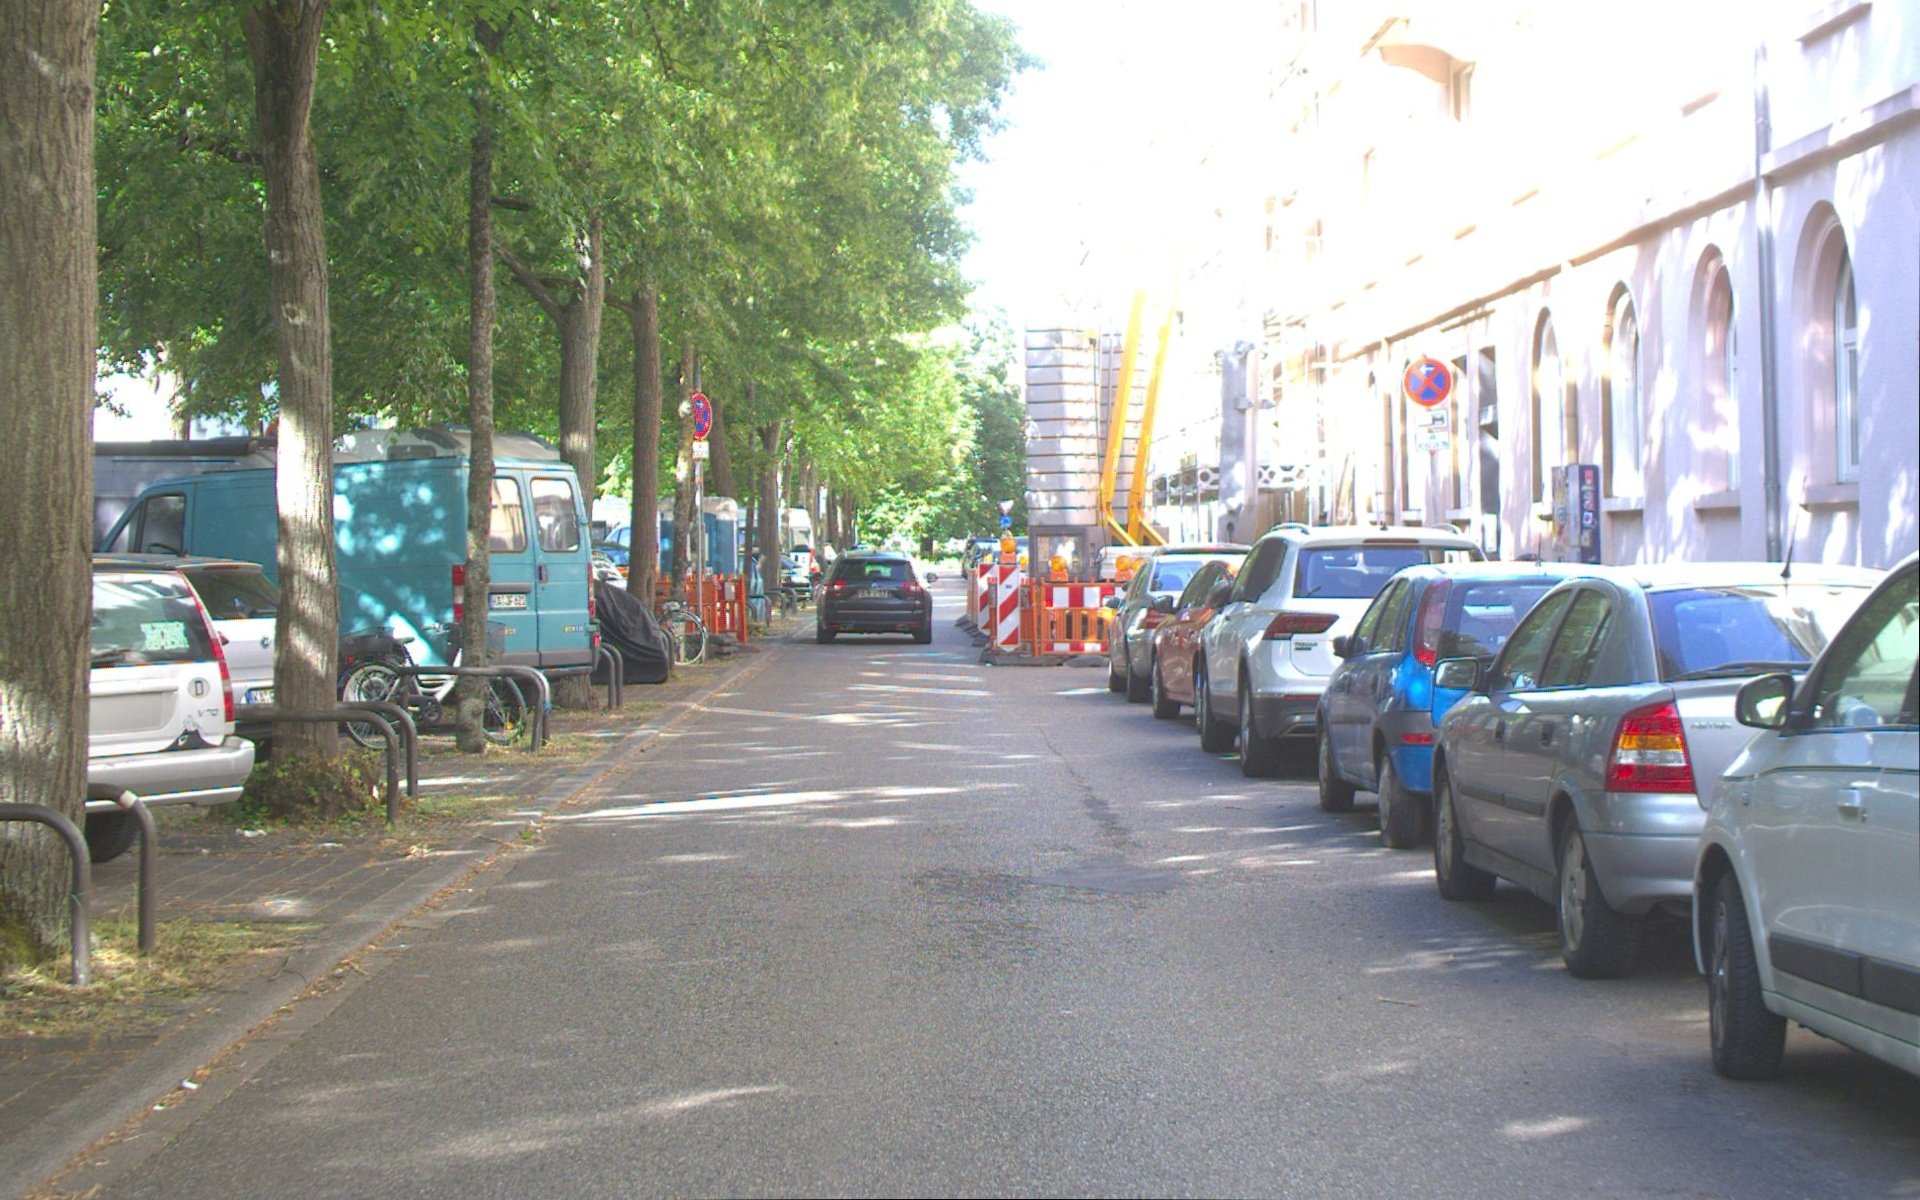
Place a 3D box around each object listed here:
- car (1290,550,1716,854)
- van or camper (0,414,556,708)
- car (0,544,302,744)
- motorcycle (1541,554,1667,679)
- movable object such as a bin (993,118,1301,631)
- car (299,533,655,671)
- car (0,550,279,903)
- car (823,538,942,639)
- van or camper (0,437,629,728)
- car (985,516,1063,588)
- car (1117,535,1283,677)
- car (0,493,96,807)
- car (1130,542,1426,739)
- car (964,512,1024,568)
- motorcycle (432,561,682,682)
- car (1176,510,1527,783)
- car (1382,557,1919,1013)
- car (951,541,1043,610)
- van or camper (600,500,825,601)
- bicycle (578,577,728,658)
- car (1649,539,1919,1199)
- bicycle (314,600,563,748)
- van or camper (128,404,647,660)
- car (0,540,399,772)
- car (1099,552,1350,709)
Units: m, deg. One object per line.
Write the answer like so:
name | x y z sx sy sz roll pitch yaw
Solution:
car | 2.781 0.460 18.345 1.617 1.408 3.788 -1 1 -1
van or camper | -6.989 -0.357 33.103 5.877 2.628 2.252 -1 1 29
car | -7.218 0.311 26.628 3.993 1.426 1.719 0 1 30
motorcycle | 6.420 0.146 34.363 0.547 1.189 1.838 -2 1 -12
movable object such as a bin | 2.568 -2.983 47.096 3.485 6.736 2.364 0 1 32
car | -5.941 0.015 42.258 3.958 1.623 1.821 0 1 25
car | -5.458 0.514 16.055 4.482 1.438 1.729 0 1 32
car | -1.246 -0.214 54.787 1.797 1.498 3.586 -1 1 -2
van or camper | -5.758 -0.137 28.864 5.504 2.267 2.218 -1 1 23
car | 1.641 -1.251 88.956 1.797 1.794 3.586 -1 1 -2
car | 2.670 0.042 38.750 1.591 1.525 2.781 0 1 -2
car | -7.433 0.287 20.228 4.553 1.758 1.807 0 1 30
car | 2.623 0.285 29.233 1.790 1.518 3.965 -1 1 -5
car | 1.126 -2.019 115.376 1.797 1.794 3.586 -1 1 -2
motorcycle | -4.336 0.227 37.066 2.550 1.254 0.763 -1 1 7
car | 2.581 0.240 23.717 1.816 1.668 4.674 -1 1 -1
car | 2.766 0.570 13.140 1.630 1.408 4.089 -1 1 -2
car | 0.766 -0.544 73.788 1.797 1.380 3.586 -1 1 -2
van or camper | -6.340 -1.255 87.886 5.342 2.466 2.290 -1 1 32
bicycle | -3.892 0.228 43.519 1.899 1.003 0.430 0 1 23
car | 2.953 0.618 8.511 1.630 1.529 3.593 -1 1 -2
bicycle | -3.818 0.529 25.204 1.719 1.002 0.511 -2 1 -30
van or camper | -7.733 -0.874 46.200 6.666 3.229 2.492 -1 1 28
car | -5.973 0.342 23.306 3.949 1.438 1.844 0 1 28
car | 2.536 0.249 33.998 1.993 1.404 4.501 0 1 -2
